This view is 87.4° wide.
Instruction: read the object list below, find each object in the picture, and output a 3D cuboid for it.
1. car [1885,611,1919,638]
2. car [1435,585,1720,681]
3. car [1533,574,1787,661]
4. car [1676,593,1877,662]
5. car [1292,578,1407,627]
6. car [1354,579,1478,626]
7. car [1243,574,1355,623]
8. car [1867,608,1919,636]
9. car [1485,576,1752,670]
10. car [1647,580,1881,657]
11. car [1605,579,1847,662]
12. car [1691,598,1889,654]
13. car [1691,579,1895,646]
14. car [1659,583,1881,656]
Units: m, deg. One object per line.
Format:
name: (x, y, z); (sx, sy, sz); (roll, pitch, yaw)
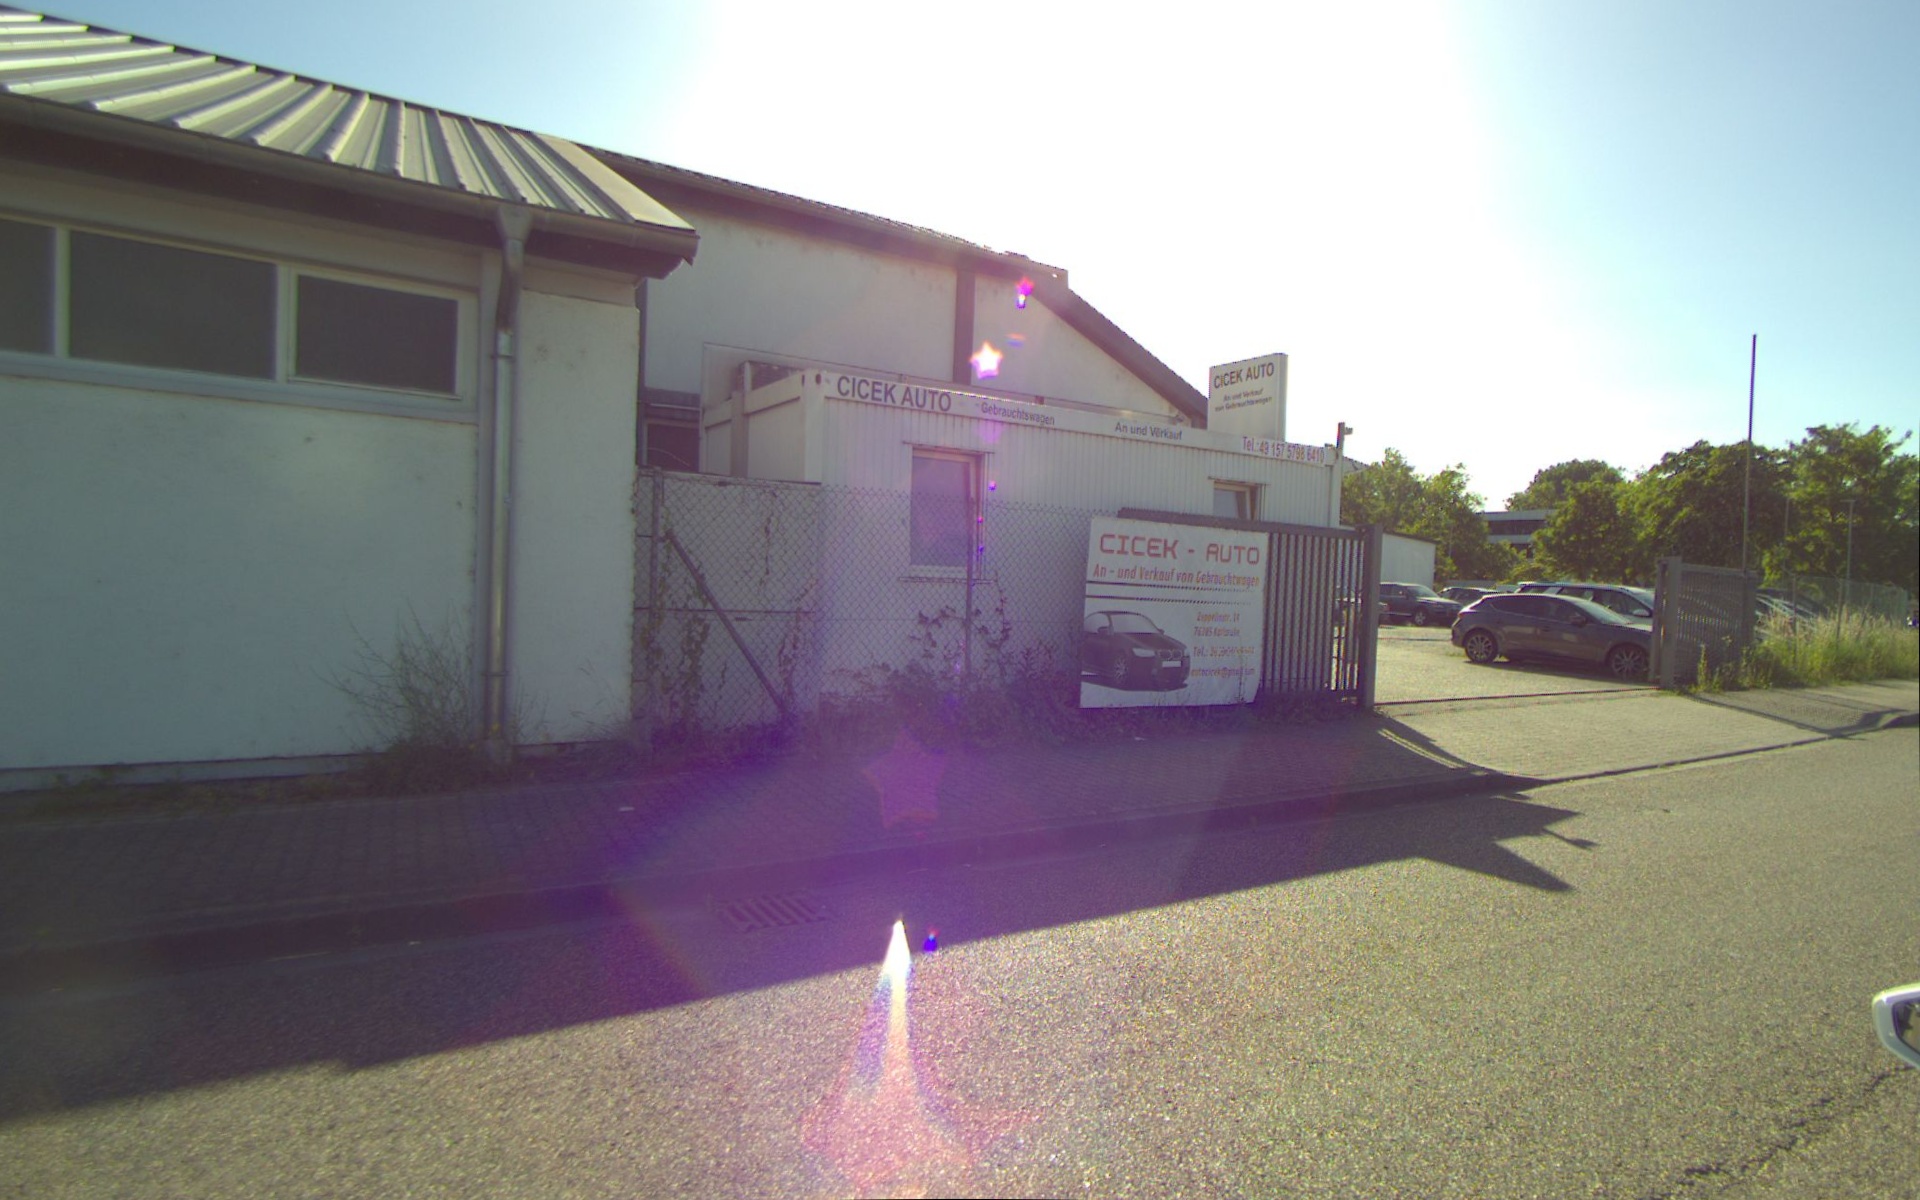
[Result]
car: (56.921, 1.514, 57.935); (1.976, 1.504, 4.887); (1, 2, -30)
car: (11.918, 0.563, 19.677); (1.823, 1.527, 4.358); (1, 2, -36)
car: (15.663, 0.325, 22.673); (1.826, 1.671, 4.350); (1, 2, -41)
car: (23.524, 0.730, 29.095); (4.338, 1.671, 1.831); (4, 2, 41)
car: (14.972, 0.059, 38.903); (1.810, 1.671, 4.388); (2, 2, -16)
car: (18.573, 0.074, 41.093); (1.818, 1.671, 4.369); (1, 2, -29)
car: (12.812, -0.108, 38.294); (1.810, 1.671, 4.388); (2, 2, -16)
car: (54.707, 1.299, 56.631); (1.976, 1.445, 4.887); (1, 2, -30)
car: (13.823, 0.403, 21.327); (1.825, 1.671, 4.353); (1, 2, -39)
car: (20.259, 0.417, 25.586); (4.324, 1.671, 1.837); (3, 2, 29)
car: (18.240, 0.420, 24.069); (1.828, 1.671, 4.346); (1, 2, -44)
car: (25.609, 0.759, 31.189); (4.320, 1.456, 1.839); (3, 2, 24)
car: (27.236, 0.367, 33.084); (4.759, 1.918, 1.839); (3, 2, 25)
car: (21.747, 0.467, 27.231); (4.324, 1.671, 1.837); (3, 2, 29)
